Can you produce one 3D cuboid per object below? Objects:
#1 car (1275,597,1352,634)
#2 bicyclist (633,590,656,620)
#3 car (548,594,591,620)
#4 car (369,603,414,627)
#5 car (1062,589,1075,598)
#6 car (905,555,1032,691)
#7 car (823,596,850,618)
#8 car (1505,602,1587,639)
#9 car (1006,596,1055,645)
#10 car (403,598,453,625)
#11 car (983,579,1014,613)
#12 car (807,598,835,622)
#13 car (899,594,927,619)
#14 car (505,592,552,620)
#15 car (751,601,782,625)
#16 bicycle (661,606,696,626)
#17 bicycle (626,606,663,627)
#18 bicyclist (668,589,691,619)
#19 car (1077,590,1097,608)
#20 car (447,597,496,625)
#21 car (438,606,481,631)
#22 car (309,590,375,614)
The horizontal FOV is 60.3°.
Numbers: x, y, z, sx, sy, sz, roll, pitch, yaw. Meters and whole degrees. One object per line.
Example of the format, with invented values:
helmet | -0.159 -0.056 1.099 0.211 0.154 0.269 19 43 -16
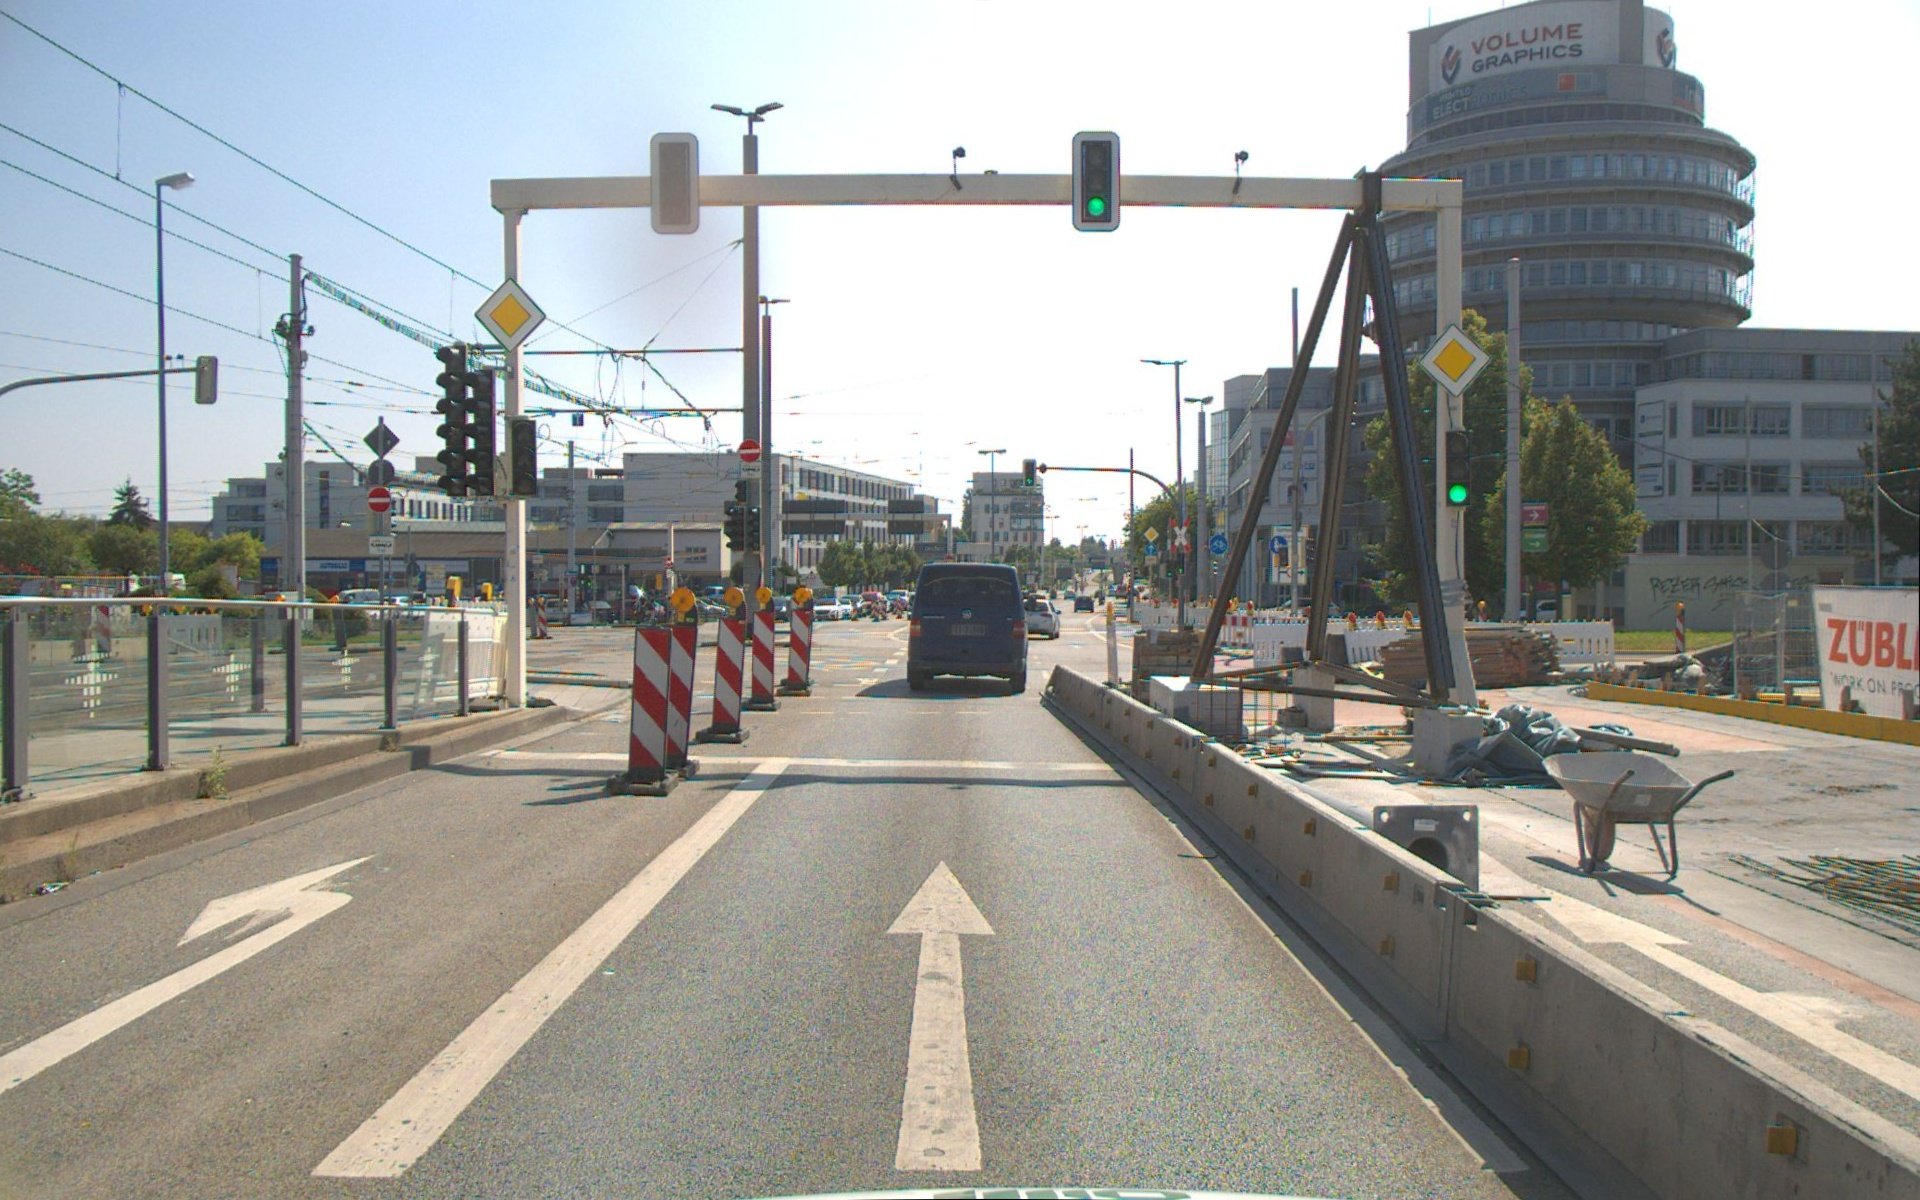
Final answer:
car | 18.880 0.800 88.407 3.736 1.829 1.681 1 1 -1
bicyclist | -17.557 0.263 92.123 0.857 1.606 0.970 4 0 13
car | -23.954 0.427 101.561 1.741 1.565 4.000 0 0 -1
car | -38.963 1.022 113.425 1.741 1.565 4.000 -2 0 -1
car | 15.973 -0.933 243.529 1.517 1.363 3.014 1 0 -2
car | 0.146 0.292 26.692 1.849 1.967 4.001 2 1 1
car | -8.562 0.476 114.922 1.712 1.512 3.998 0 1 -3
car | 31.452 1.094 88.859 3.736 1.829 1.681 1 1 -1
car | 2.636 0.748 62.532 1.650 1.634 3.616 2 1 0
car | -32.375 0.695 100.728 1.741 1.565 4.000 -2 0 -1
car | 2.097 -0.236 90.396 1.611 1.758 4.001 2 1 1
car | -9.114 0.646 108.500 1.712 1.507 3.998 0 1 -3
car | -3.022 0.385 106.487 1.712 1.556 3.998 0 1 -3
car | -26.155 0.356 100.336 1.741 1.565 4.000 -2 0 -1
car | -12.715 0.855 108.707 1.712 1.512 3.998 0 1 -3
bicycle | -15.999 0.911 94.062 0.863 1.088 2.809 4 0 13
bicycle | -17.578 0.926 92.228 0.863 1.088 2.809 4 0 13
bicyclist | -15.956 0.243 94.078 0.857 1.606 0.970 4 0 13
car | 11.119 -0.090 144.628 1.707 1.501 3.887 0 0 4
car | -29.362 0.623 99.441 1.741 1.565 4.000 -2 0 -1
car | -34.464 1.252 114.067 1.741 1.565 4.000 -2 0 -1
car | -43.572 0.109 116.686 3.969 1.565 1.755 -2 1 -44
